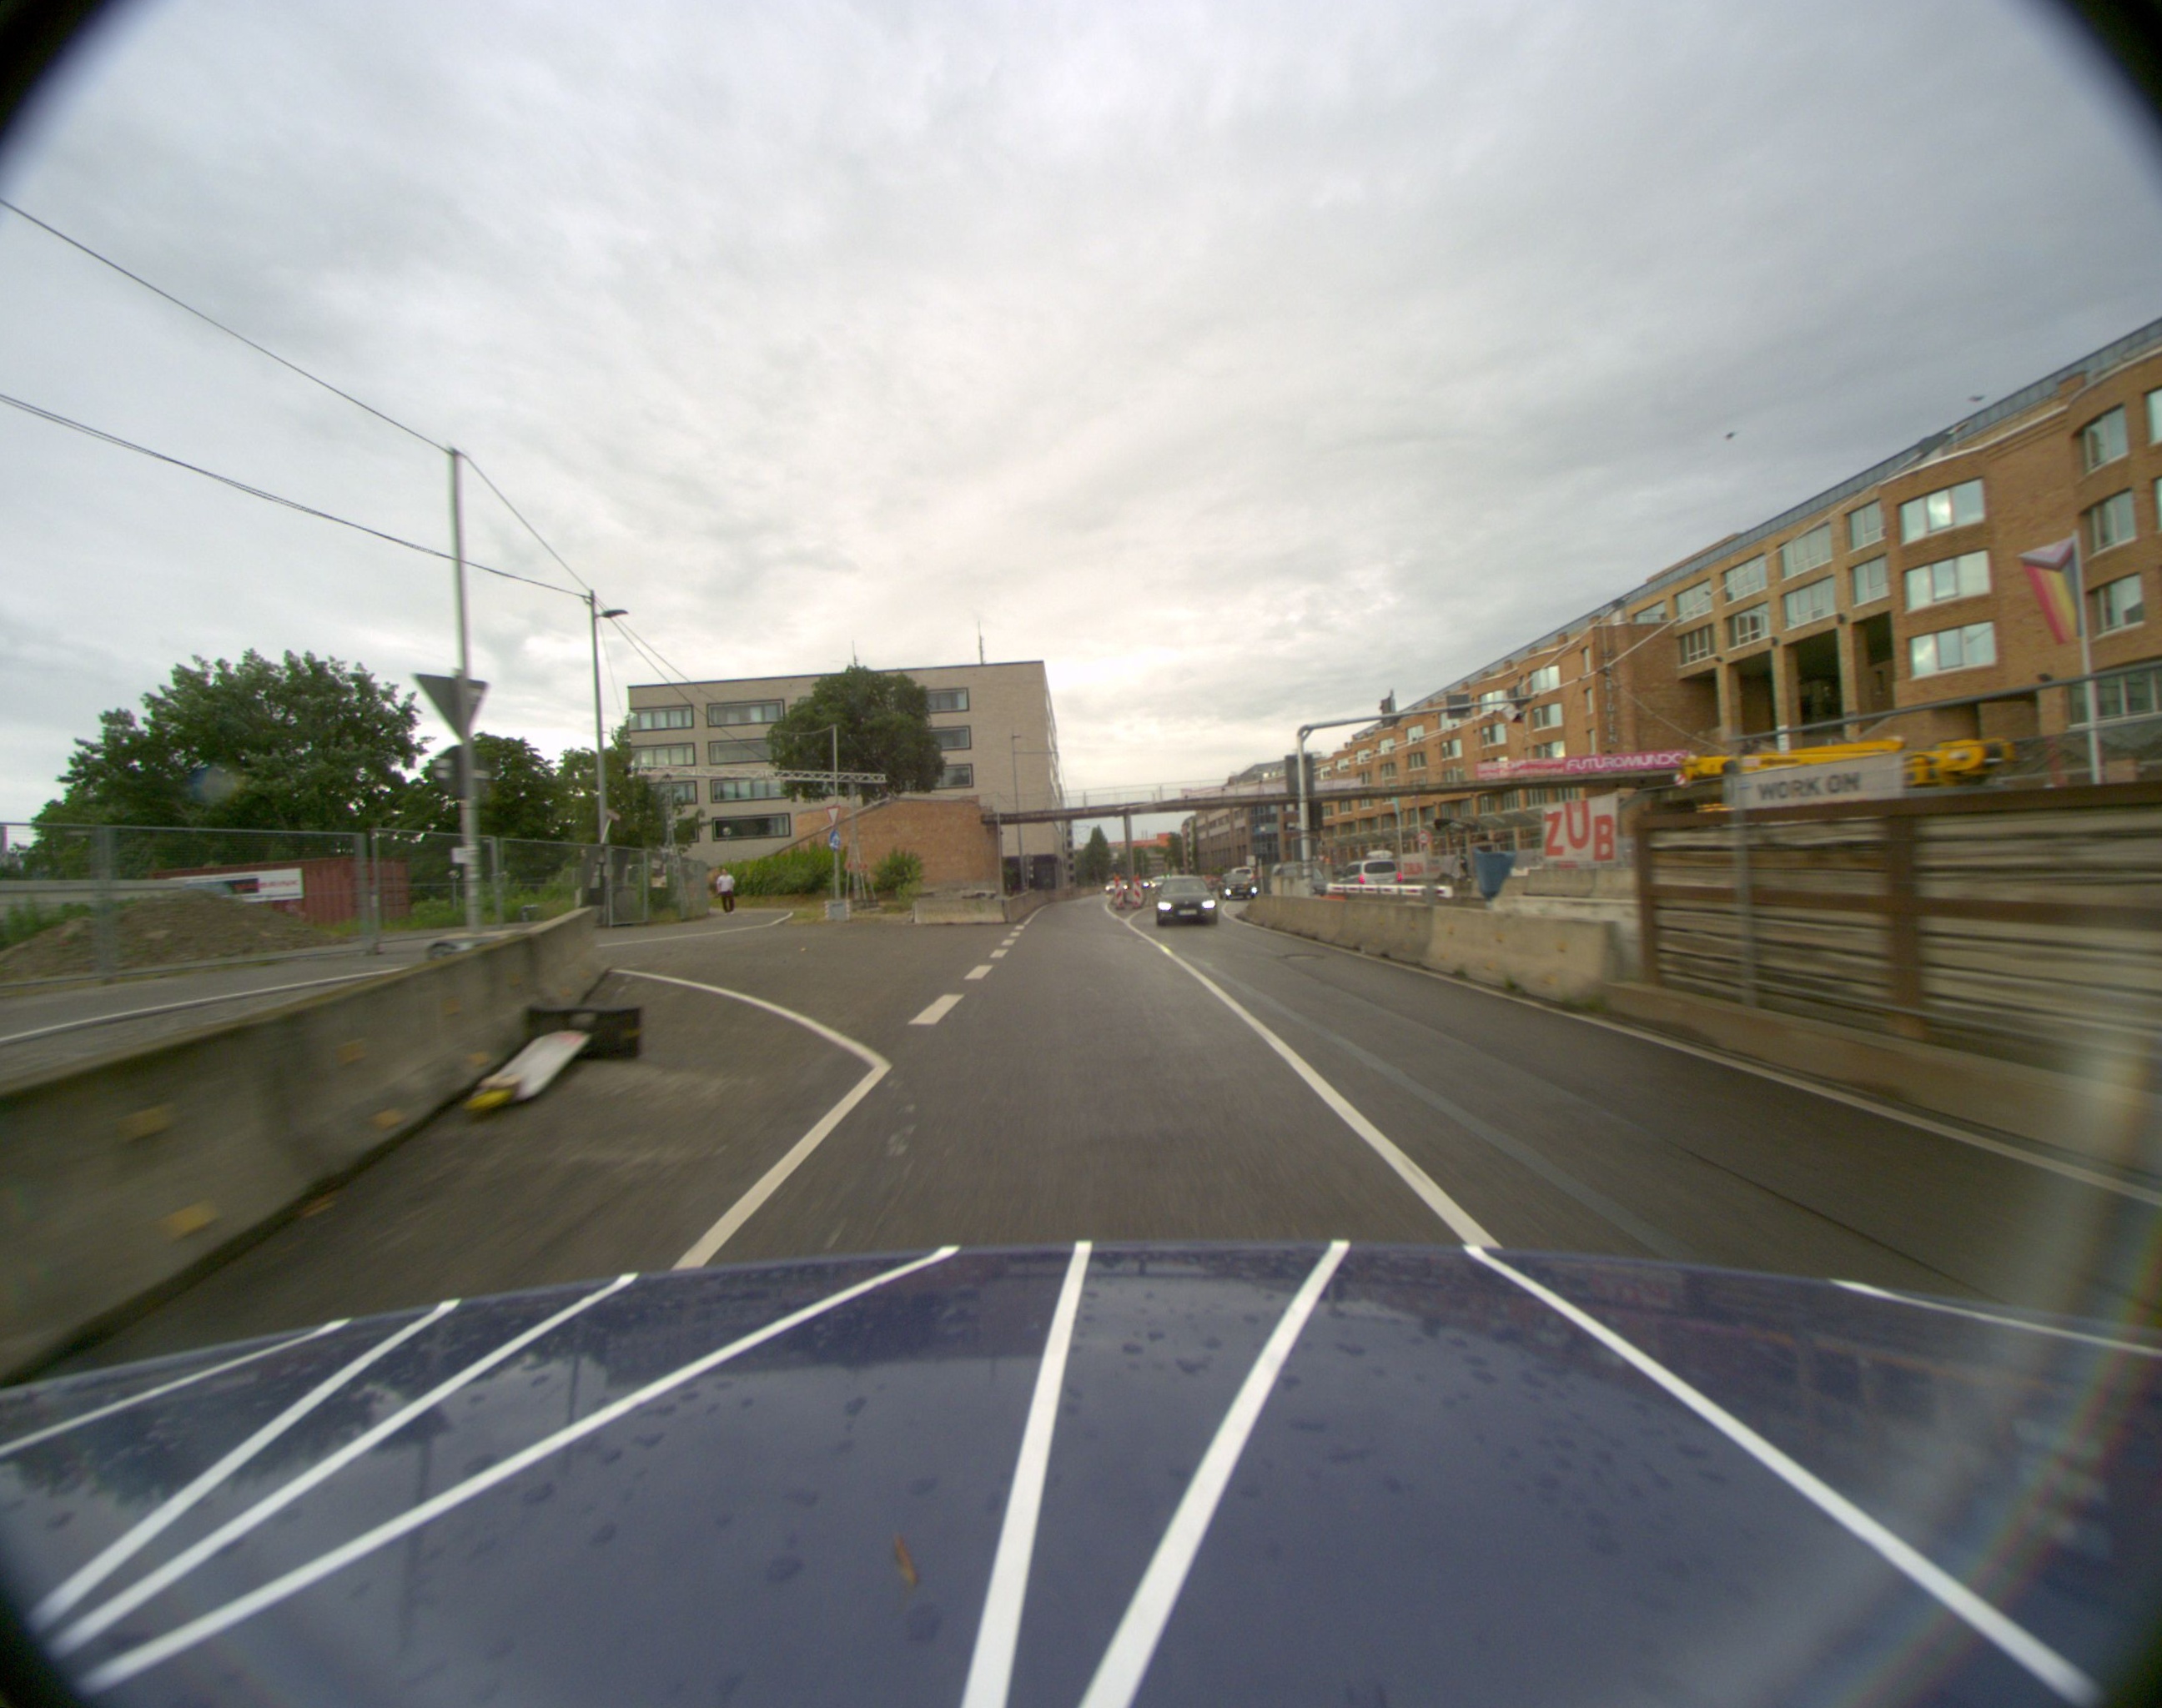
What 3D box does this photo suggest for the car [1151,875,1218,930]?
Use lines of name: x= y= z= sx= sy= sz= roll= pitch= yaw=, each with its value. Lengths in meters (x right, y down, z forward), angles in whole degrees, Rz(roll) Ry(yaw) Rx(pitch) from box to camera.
car: x=3.334 y=1.438 z=23.847 sx=1.771 sy=1.434 sz=4.661 roll=-4 pitch=-2 yaw=10

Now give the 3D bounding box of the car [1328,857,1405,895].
car: x=12.895 y=1.001 z=34.596 sx=1.751 sy=1.540 sz=4.524 roll=-3 pitch=-2 yaw=0

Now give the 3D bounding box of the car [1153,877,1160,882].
car: x=26.098 y=8.879 z=264.134 sx=1.891 sy=1.772 sz=4.878 roll=-4 pitch=-2 yaw=0

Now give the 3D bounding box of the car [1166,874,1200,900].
car: x=6.688 y=2.128 z=50.266 sx=1.772 sy=1.524 sz=4.658 roll=-4 pitch=-2 yaw=2

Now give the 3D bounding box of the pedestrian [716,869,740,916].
pedestrian: x=-13.935 y=1.507 z=30.005 sx=0.692 sy=1.767 sz=0.814 roll=-3 pitch=0 yaw=-17

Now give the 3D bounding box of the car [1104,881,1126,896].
car: x=3.914 y=3.899 z=86.513 sx=1.771 sy=1.524 sz=4.661 roll=-4 pitch=-2 yaw=11

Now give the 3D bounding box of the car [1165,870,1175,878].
car: x=22.563 y=5.137 z=192.970 sx=1.998 sy=1.873 sz=4.871 roll=-4 pitch=-2 yaw=0

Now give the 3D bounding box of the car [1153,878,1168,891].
car: x=10.673 y=4.051 z=102.015 sx=1.771 sy=1.524 sz=4.659 roll=-4 pitch=-2 yaw=5

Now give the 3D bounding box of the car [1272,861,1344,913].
car: x=8.899 y=1.283 z=30.147 sx=1.798 sy=1.789 sz=4.253 roll=-4 pitch=-2 yaw=5

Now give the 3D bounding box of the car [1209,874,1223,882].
car: x=25.448 y=4.538 z=143.333 sx=1.764 sy=1.516 sz=4.365 roll=-2 pitch=-2 yaw=-1

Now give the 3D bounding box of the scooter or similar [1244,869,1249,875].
scooter or similar: x=30.122 y=3.236 z=138.423 sx=0.450 sy=1.056 sz=1.044 roll=-3 pitch=-2 yaw=-10

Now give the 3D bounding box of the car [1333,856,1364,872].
car: x=34.253 y=1.294 z=97.412 sx=1.999 sy=1.874 sz=5.015 roll=-4 pitch=-2 yaw=-1

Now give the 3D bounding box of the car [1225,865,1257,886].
car: x=14.965 y=2.077 z=71.280 sx=1.810 sy=1.810 sz=5.303 roll=-3 pitch=-2 yaw=1

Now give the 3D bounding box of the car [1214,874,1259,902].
car: x=9.623 y=2.077 z=47.305 sx=1.772 sy=1.524 sz=4.357 roll=-4 pitch=-2 yaw=0

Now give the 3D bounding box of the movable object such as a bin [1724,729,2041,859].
movable object such as a bin: x=16.376 y=-1.075 z=15.948 sx=2.032 sy=2.263 sz=4.293 roll=0 pitch=-1 yaw=-2
